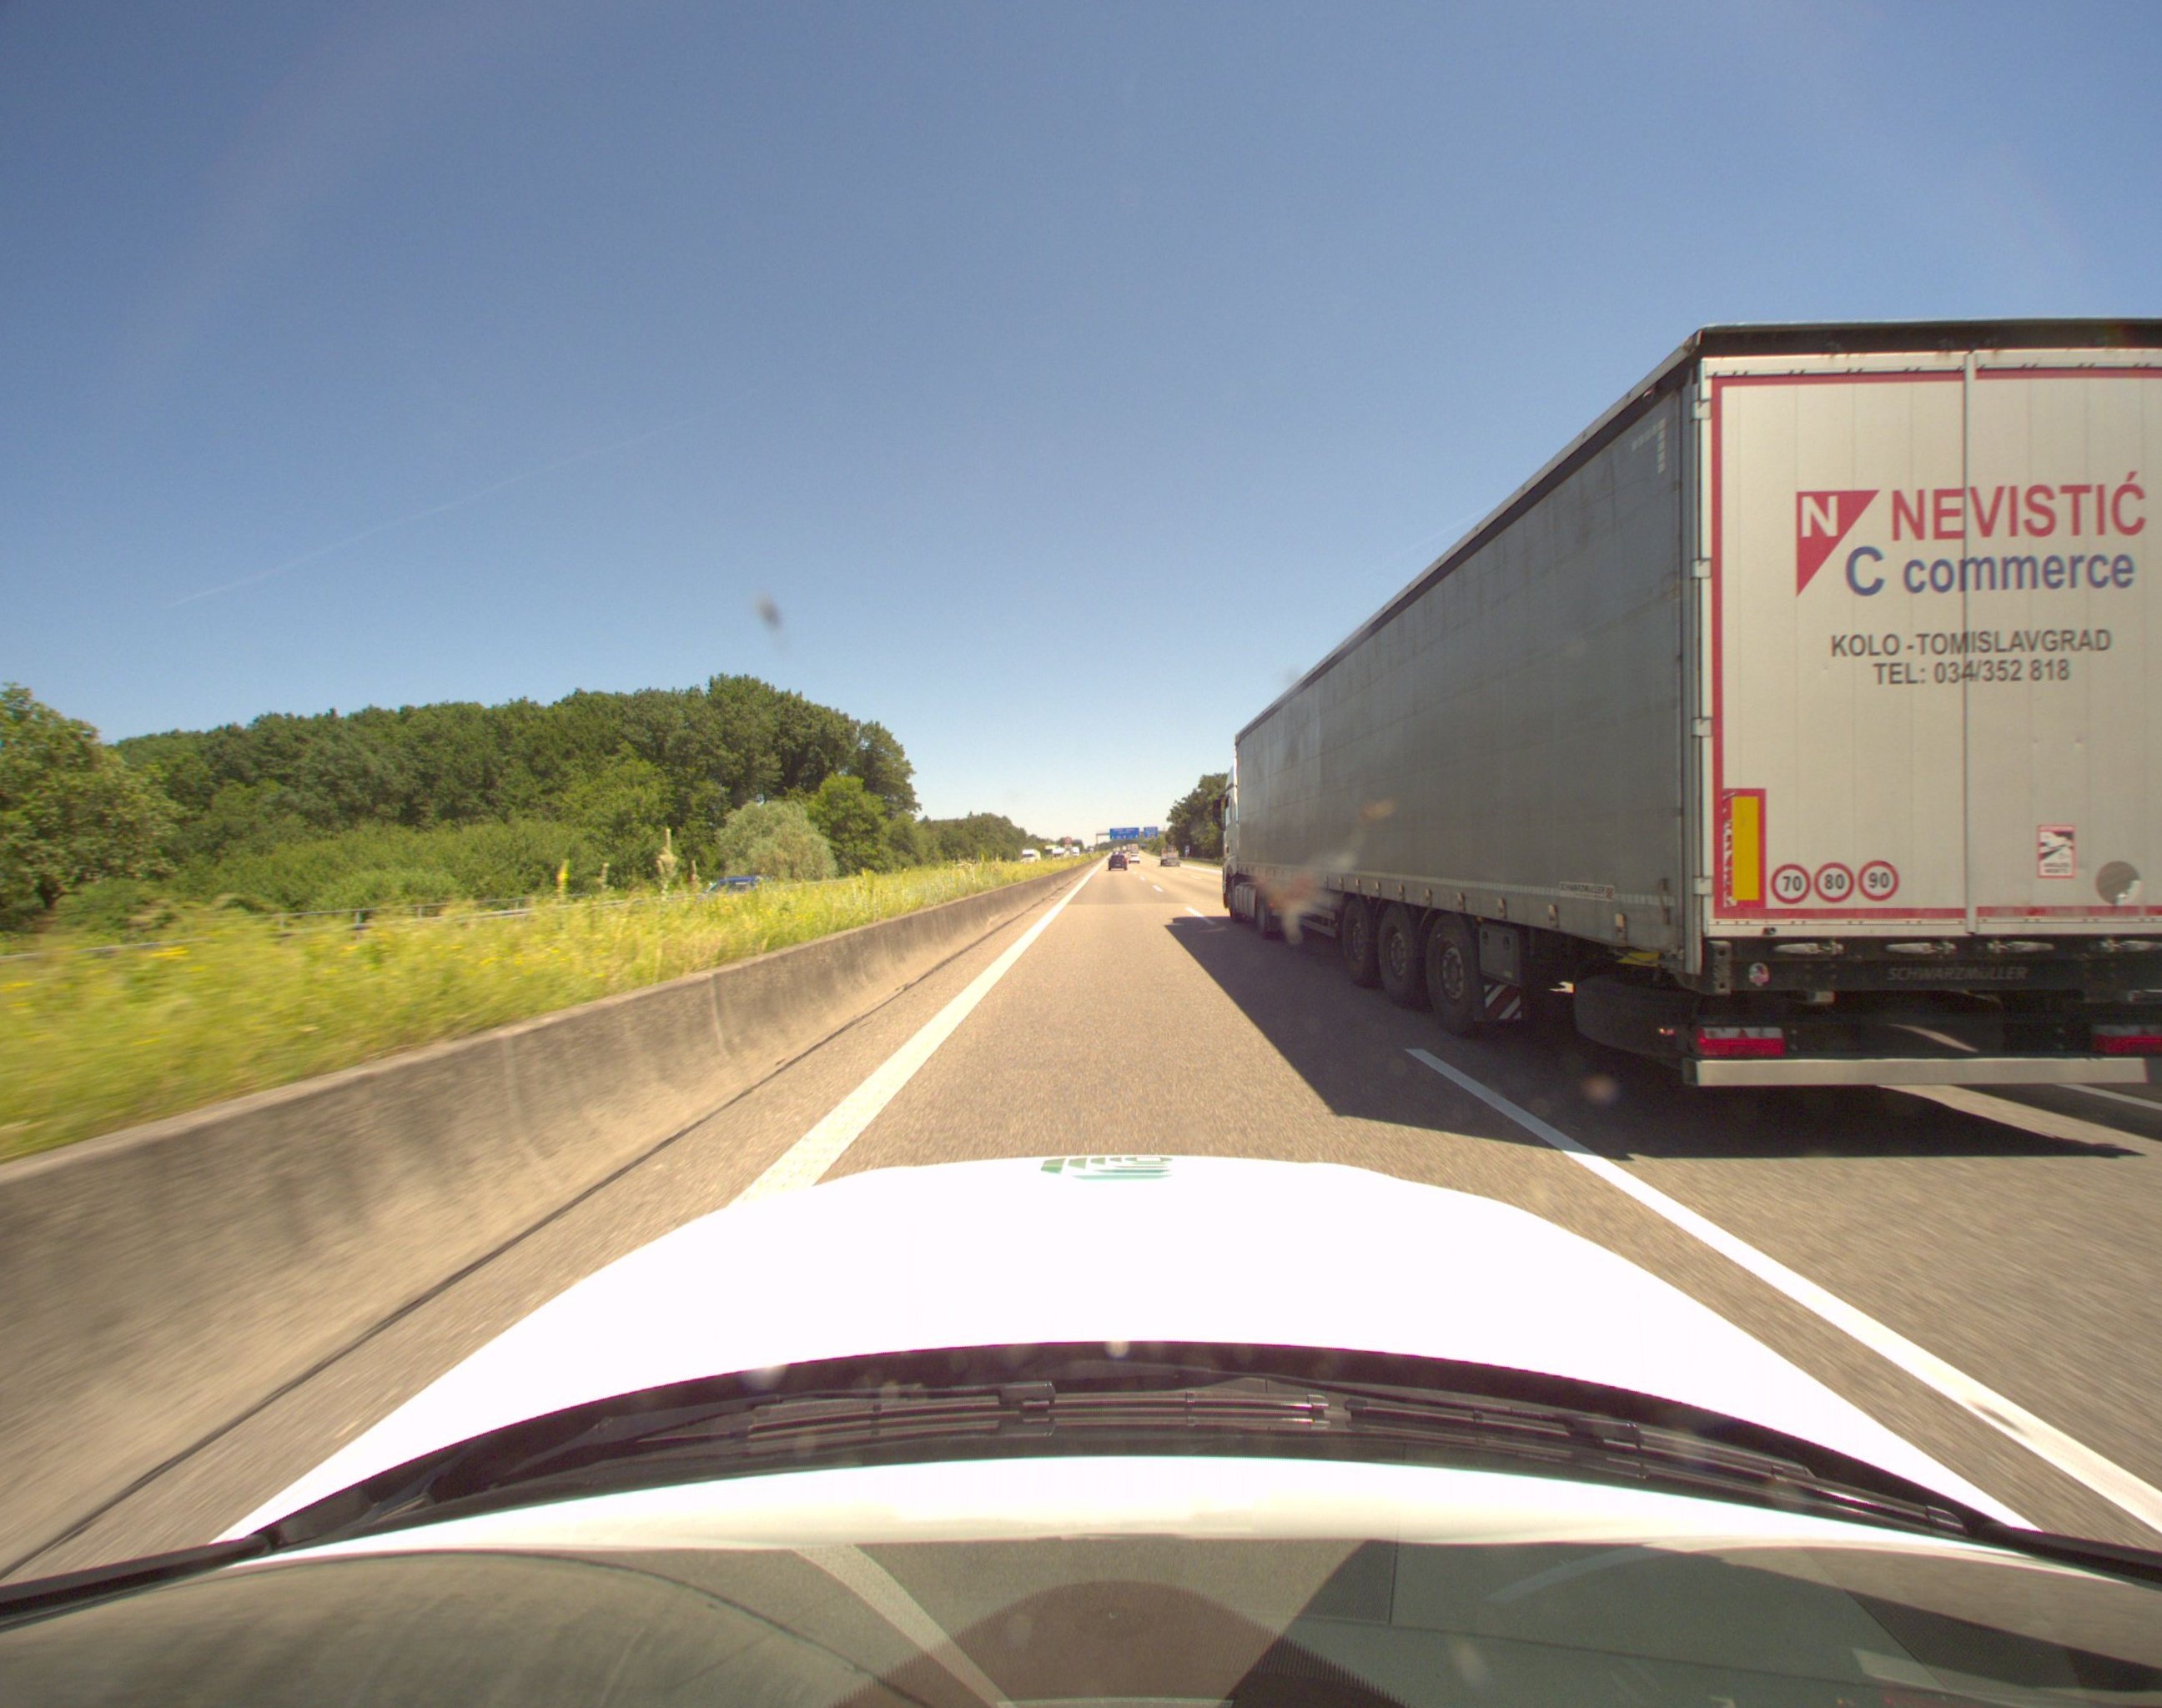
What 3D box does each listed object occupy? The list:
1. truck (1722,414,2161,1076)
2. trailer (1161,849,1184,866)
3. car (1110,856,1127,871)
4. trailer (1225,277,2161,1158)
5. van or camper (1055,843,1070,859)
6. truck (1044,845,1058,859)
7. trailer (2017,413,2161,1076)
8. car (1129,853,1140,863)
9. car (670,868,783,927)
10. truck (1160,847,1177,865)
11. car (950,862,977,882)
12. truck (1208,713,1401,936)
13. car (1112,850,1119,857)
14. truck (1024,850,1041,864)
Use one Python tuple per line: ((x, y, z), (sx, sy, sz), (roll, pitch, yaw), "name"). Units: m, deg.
((8.126, -0.695, 6.512), (2.320, 4.231, 4.675), (-1, -1, 2), "truck")
((11.794, 0.454, 105.577), (2.412, 2.013, 6.035), (-1, 0, 1), "trailer")
((3.942, 0.983, 86.356), (1.654, 1.549, 3.783), (-1, 0, 1), "car")
((4.425, -0.579, 11.160), (2.697, 4.068, 14.751), (-1, -1, 2), "trailer")
((-3.836, -0.553, 167.301), (2.497, 3.155, 7.540), (-1, 0, 3), "van or camper")
((-6.609, -0.434, 182.336), (2.597, 3.008, 6.975), (-2, 0, 2), "truck")
((7.929, -0.749, 0.635), (2.307, 4.241, 10.658), (-1, -1, 2), "trailer")
((9.054, 0.660, 137.335), (1.733, 1.486, 4.002), (-1, 0, 2), "car")
((-12.212, 1.432, 28.423), (1.926, 1.748, 4.487), (-3, 0, -1), "car")
((11.888, 0.246, 110.948), (1.986, 2.373, 4.646), (-1, 0, 1), "truck")
((-10.475, 1.588, 73.097), (1.642, 1.644, 4.002), (-3, 0, 2), "car")
((4.661, -0.518, 18.376), (2.690, 4.094, 6.455), (-1, -1, 2), "truck")
((10.352, -0.119, 245.483), (1.986, 2.013, 4.002), (-3, 0, 2), "car")
((-10.736, 0.629, 180.286), (2.676, 2.942, 10.492), (-2, 0, 2), "truck")
